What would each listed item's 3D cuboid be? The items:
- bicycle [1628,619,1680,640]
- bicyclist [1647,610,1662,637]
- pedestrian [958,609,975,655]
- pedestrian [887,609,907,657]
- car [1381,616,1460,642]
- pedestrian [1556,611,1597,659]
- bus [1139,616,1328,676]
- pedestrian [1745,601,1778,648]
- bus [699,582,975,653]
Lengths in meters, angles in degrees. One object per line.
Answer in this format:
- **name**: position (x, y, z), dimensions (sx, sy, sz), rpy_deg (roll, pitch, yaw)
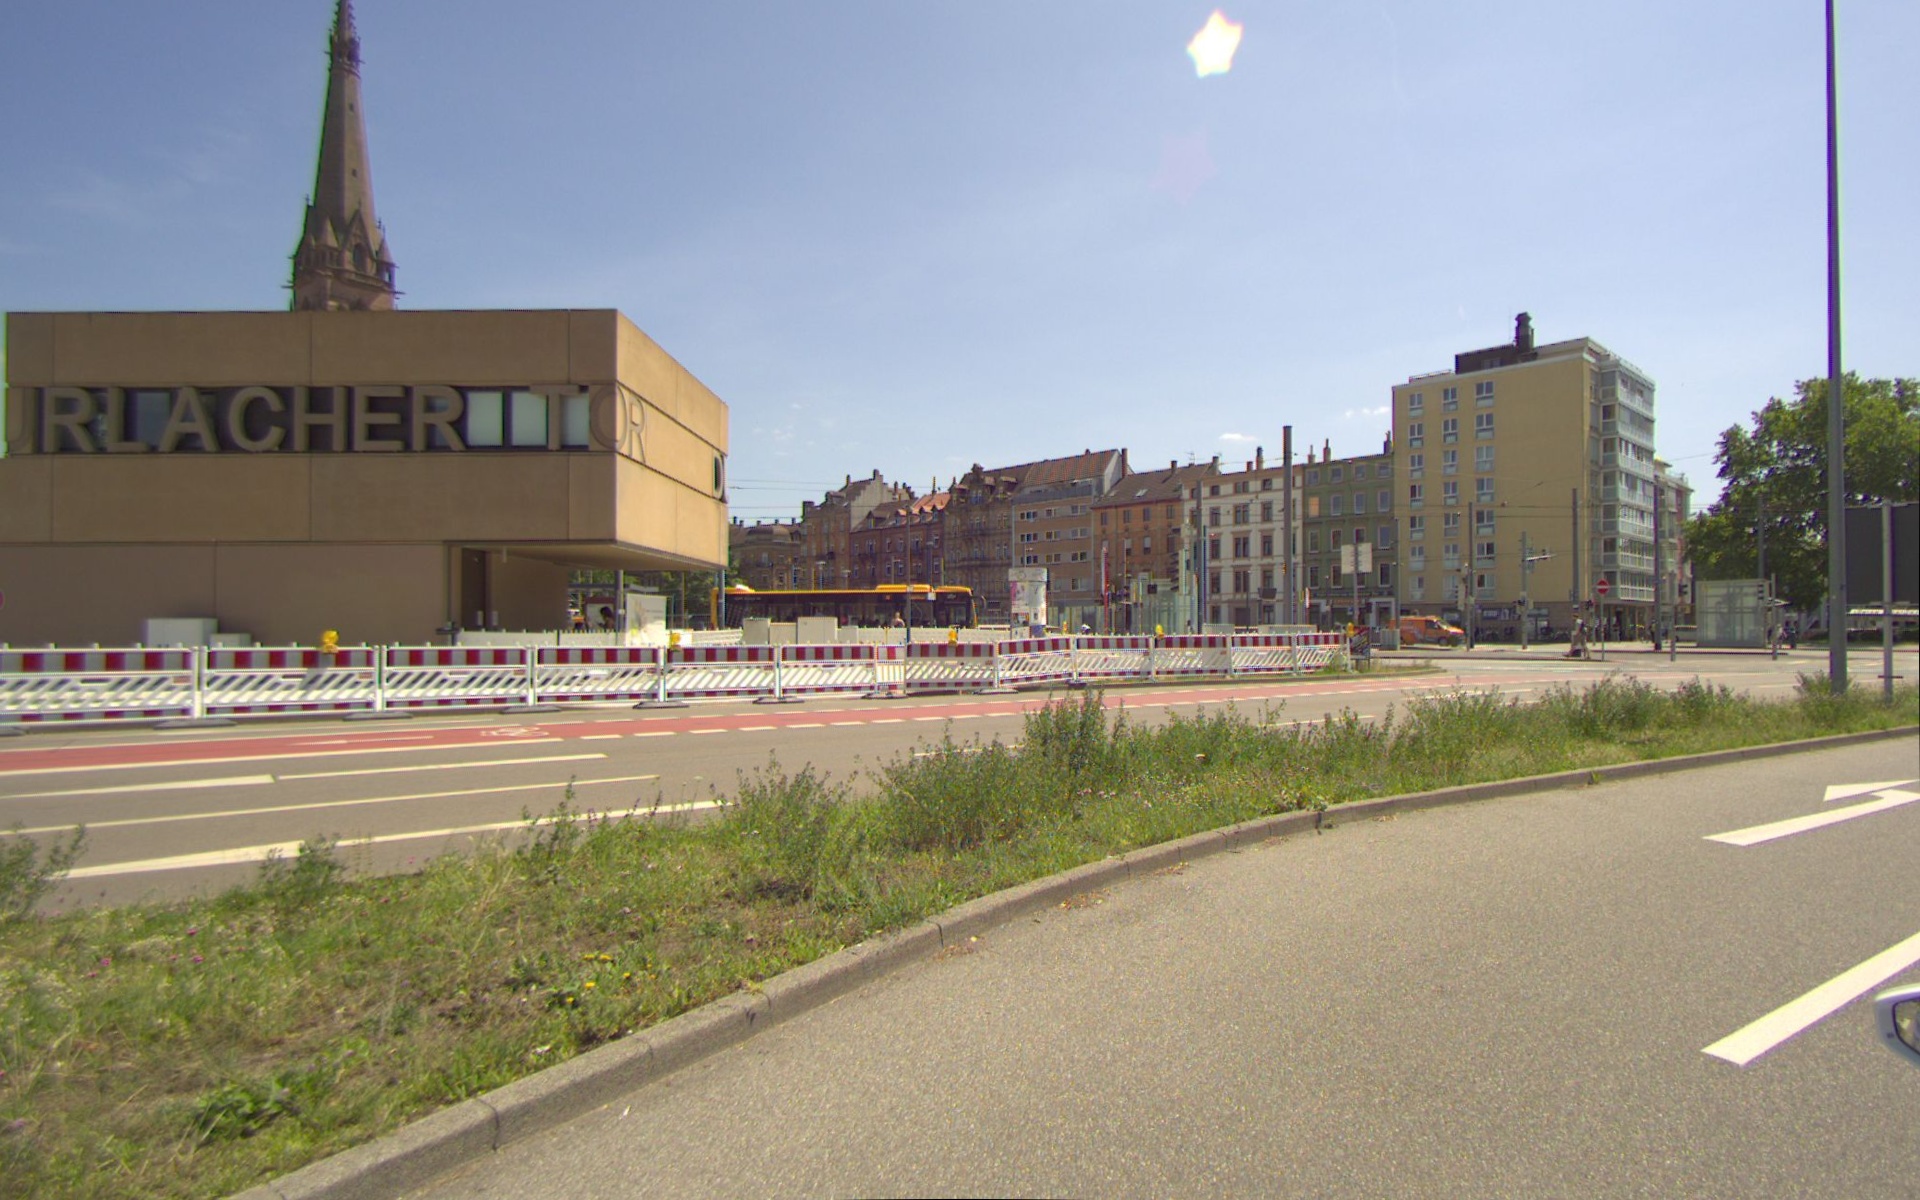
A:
- **bicycle**: position (54.895, 2.323, 79.482), dimensions (3.258, 1.617, 0.819), rpy_deg (-1, 1, 19)
- **bicyclist**: position (54.948, 1.848, 79.457), dimensions (0.724, 2.134, 0.776), rpy_deg (-1, 1, 17)
- **pedestrian**: position (0.299, 1.411, 44.317), dimensions (0.650, 2.022, 0.611), rpy_deg (-1, 1, 5)
- **pedestrian**: position (-2.678, 1.415, 43.036), dimensions (0.650, 2.022, 0.611), rpy_deg (-1, 1, 15)
- **car**: position (31.088, 1.951, 67.884), dimensions (1.661, 1.635, 4.585), rpy_deg (-2, 0, -39)
- **pedestrian**: position (25.851, 1.441, 42.125), dimensions (0.892, 1.959, 1.173), rpy_deg (-2, 1, -31)
- **bus**: position (7.244, 1.143, 26.238), dimensions (5.756, 1.266, 1.237), rpy_deg (-2, 0, -33)
- **pedestrian**: position (51.582, 1.573, 64.644), dimensions (1.319, 2.977, 1.209), rpy_deg (-2, 1, -28)
- **bus**: position (-5.364, 0.799, 45.747), dimensions (12.010, 3.081, 3.740), rpy_deg (0, -1, 1)
